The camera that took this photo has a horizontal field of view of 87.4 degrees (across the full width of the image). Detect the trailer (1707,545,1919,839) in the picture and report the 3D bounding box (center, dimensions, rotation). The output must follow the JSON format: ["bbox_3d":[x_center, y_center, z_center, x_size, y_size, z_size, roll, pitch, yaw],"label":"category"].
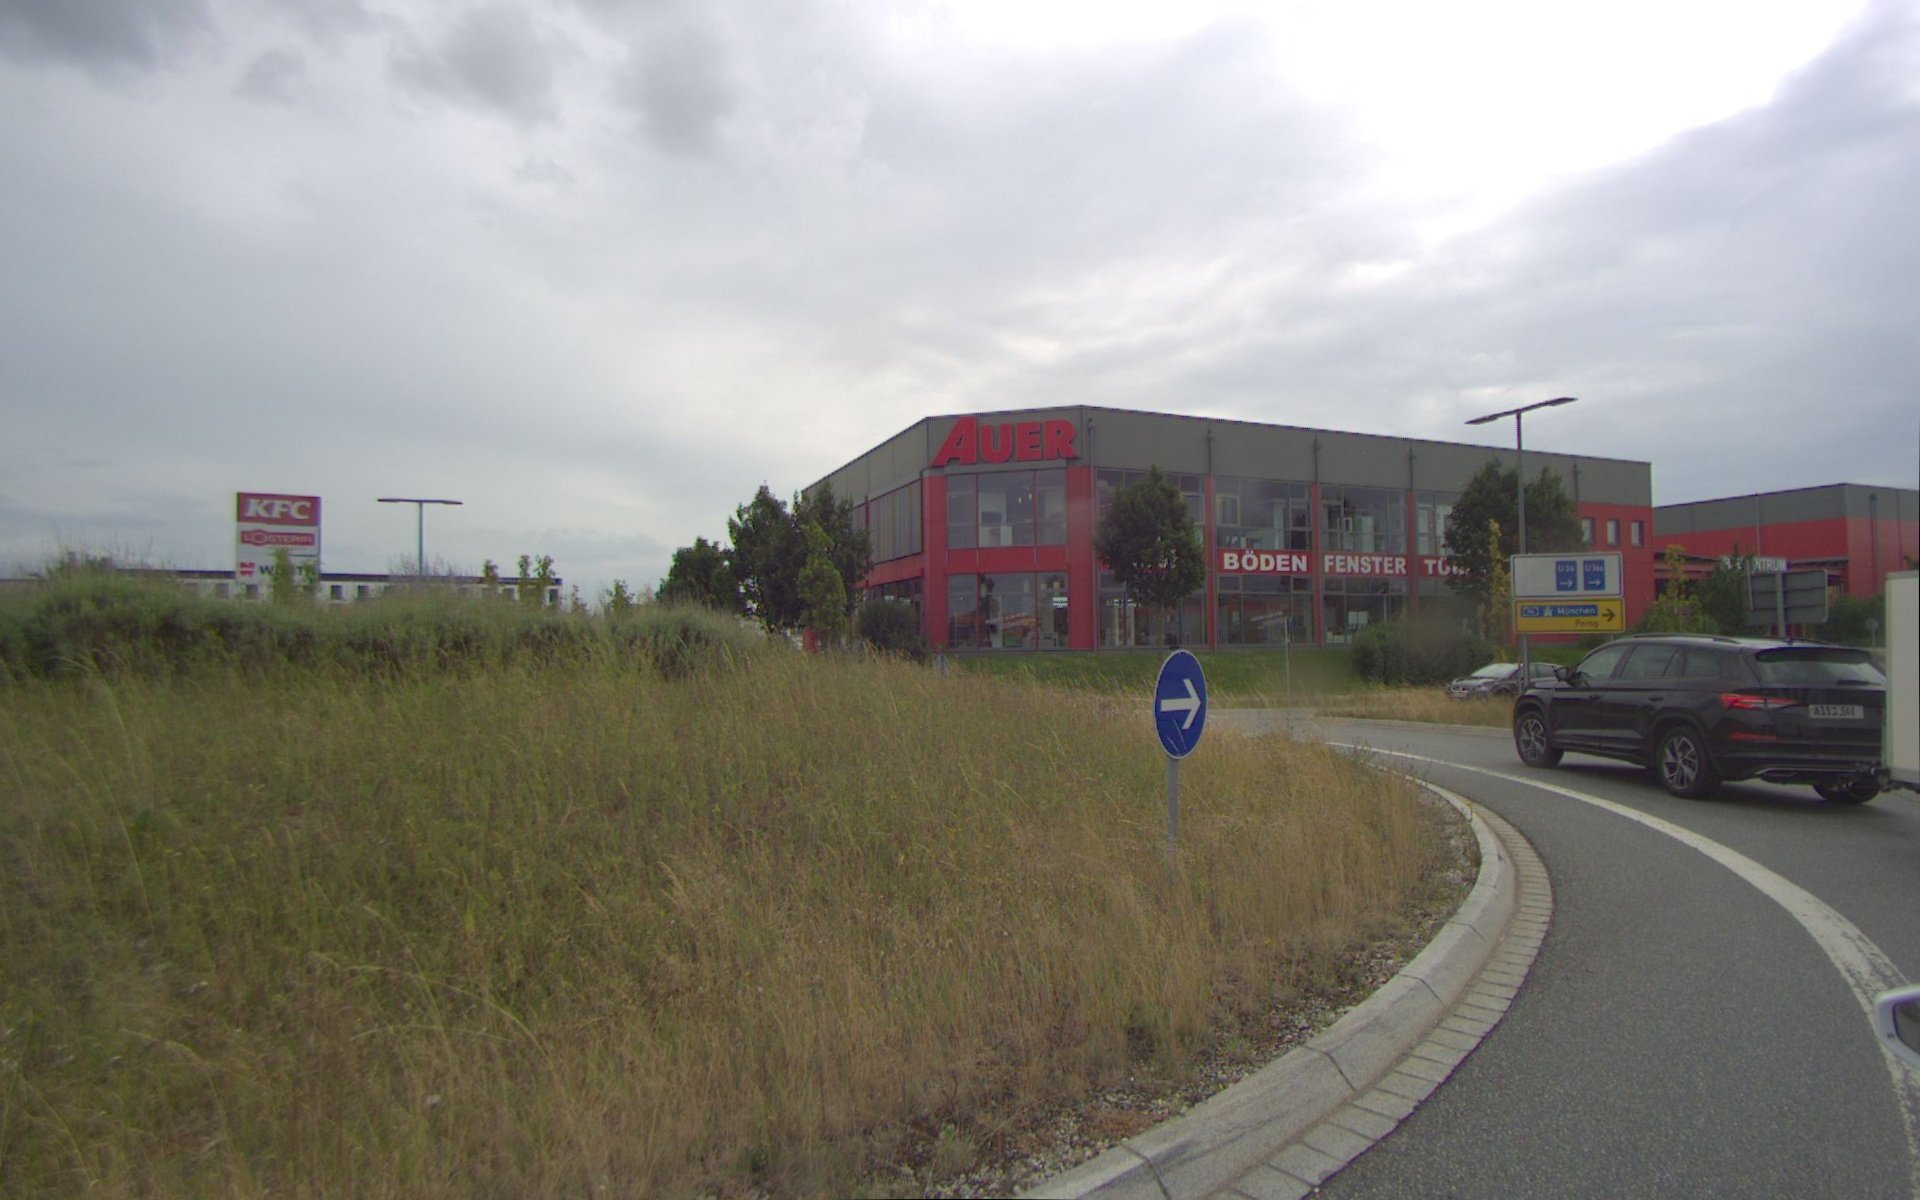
[{"bbox_3d":[7.845,0.683,7.435,1.776,2.118,4.149,1,-2,5],"label":"trailer"}]

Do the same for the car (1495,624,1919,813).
[{"bbox_3d":[8.087,1.170,11.372,1.780,1.692,4.619,0,-2,3],"label":"car"}]

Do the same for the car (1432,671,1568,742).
[{"bbox_3d":[15.974,3.097,29.684,3.906,1.795,1.669,0,-2,-29],"label":"car"}]
